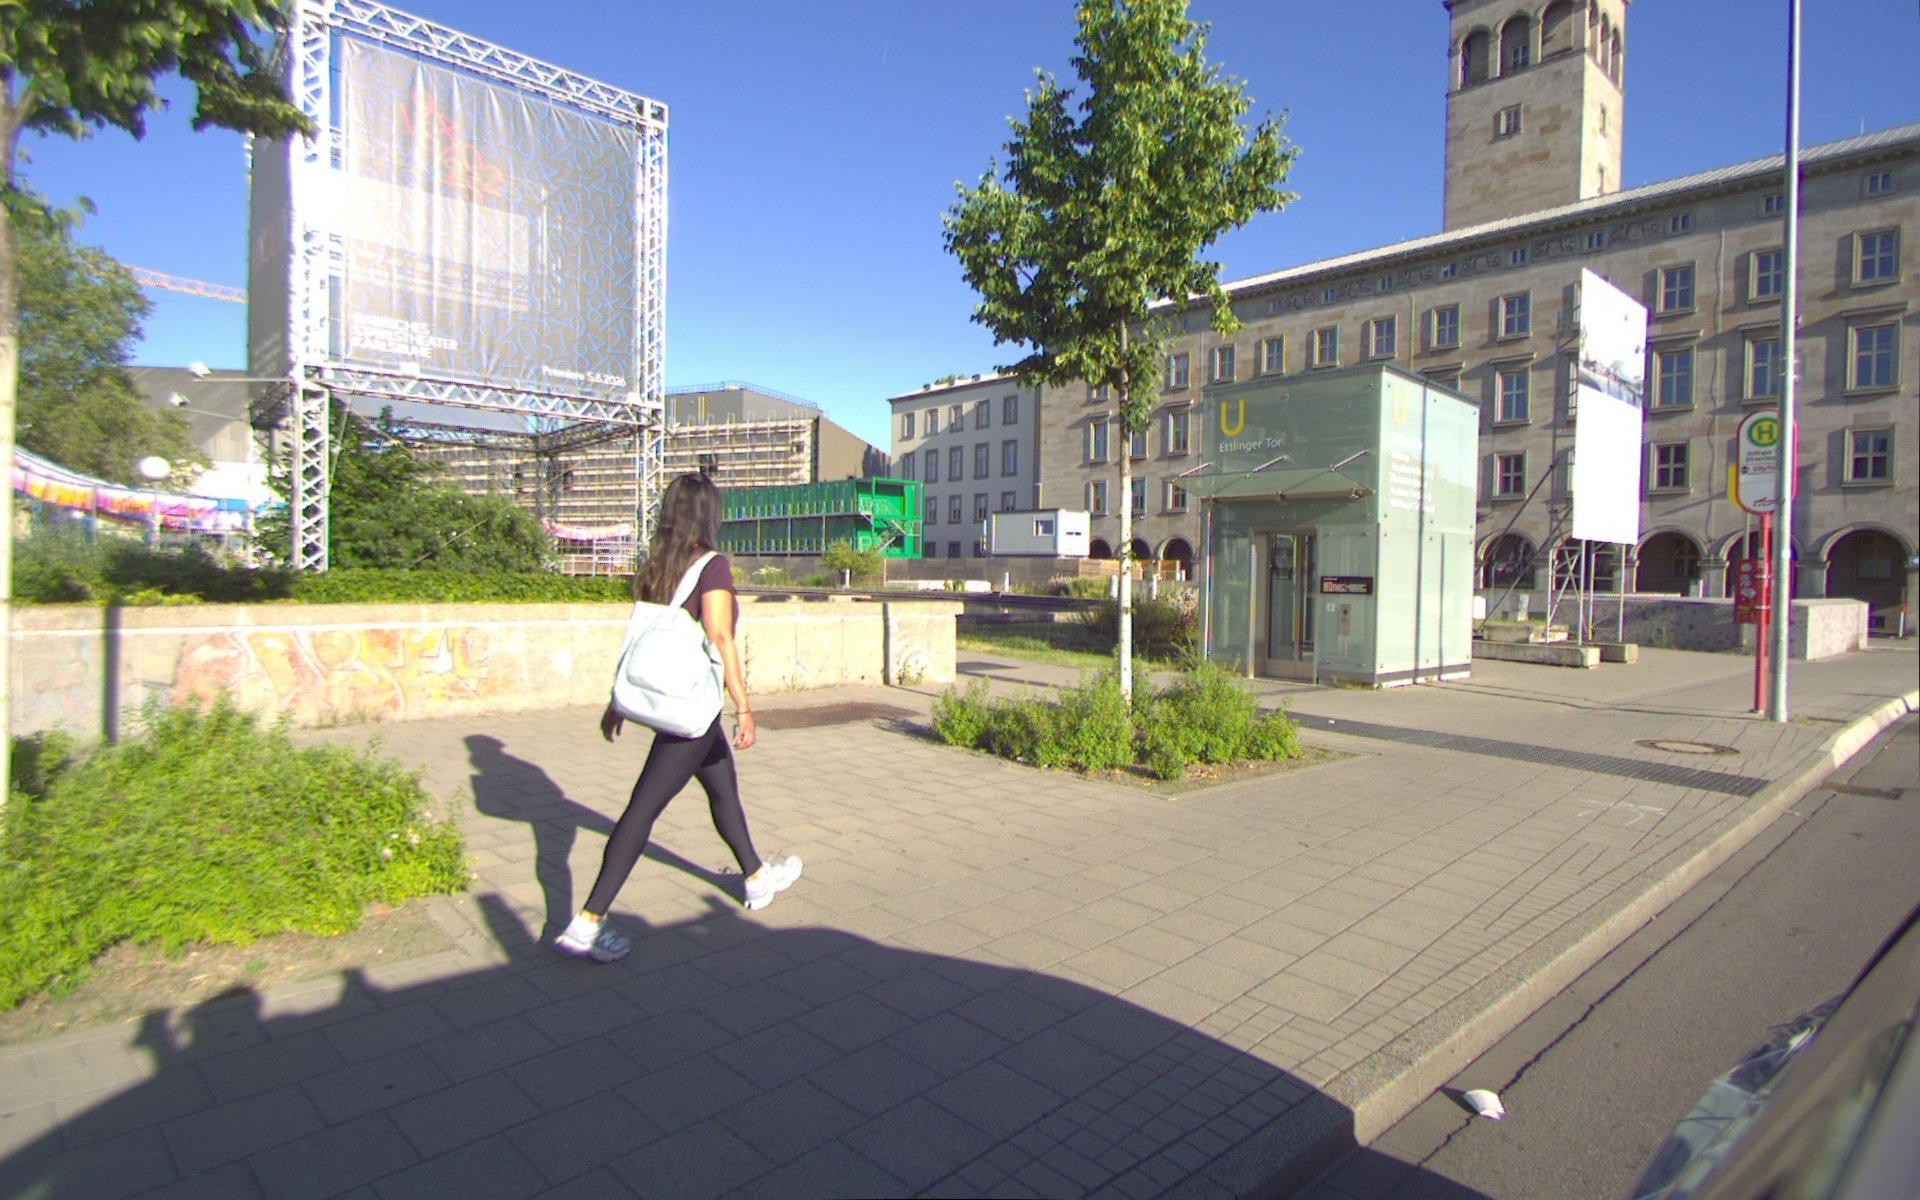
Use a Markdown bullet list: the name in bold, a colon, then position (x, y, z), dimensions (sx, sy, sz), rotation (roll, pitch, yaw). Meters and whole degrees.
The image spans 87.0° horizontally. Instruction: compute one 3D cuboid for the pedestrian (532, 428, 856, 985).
- **pedestrian**: position (-1.001, 0.330, 3.763), dimensions (1.020, 1.769, 0.826), rotation (1, 2, -20)
